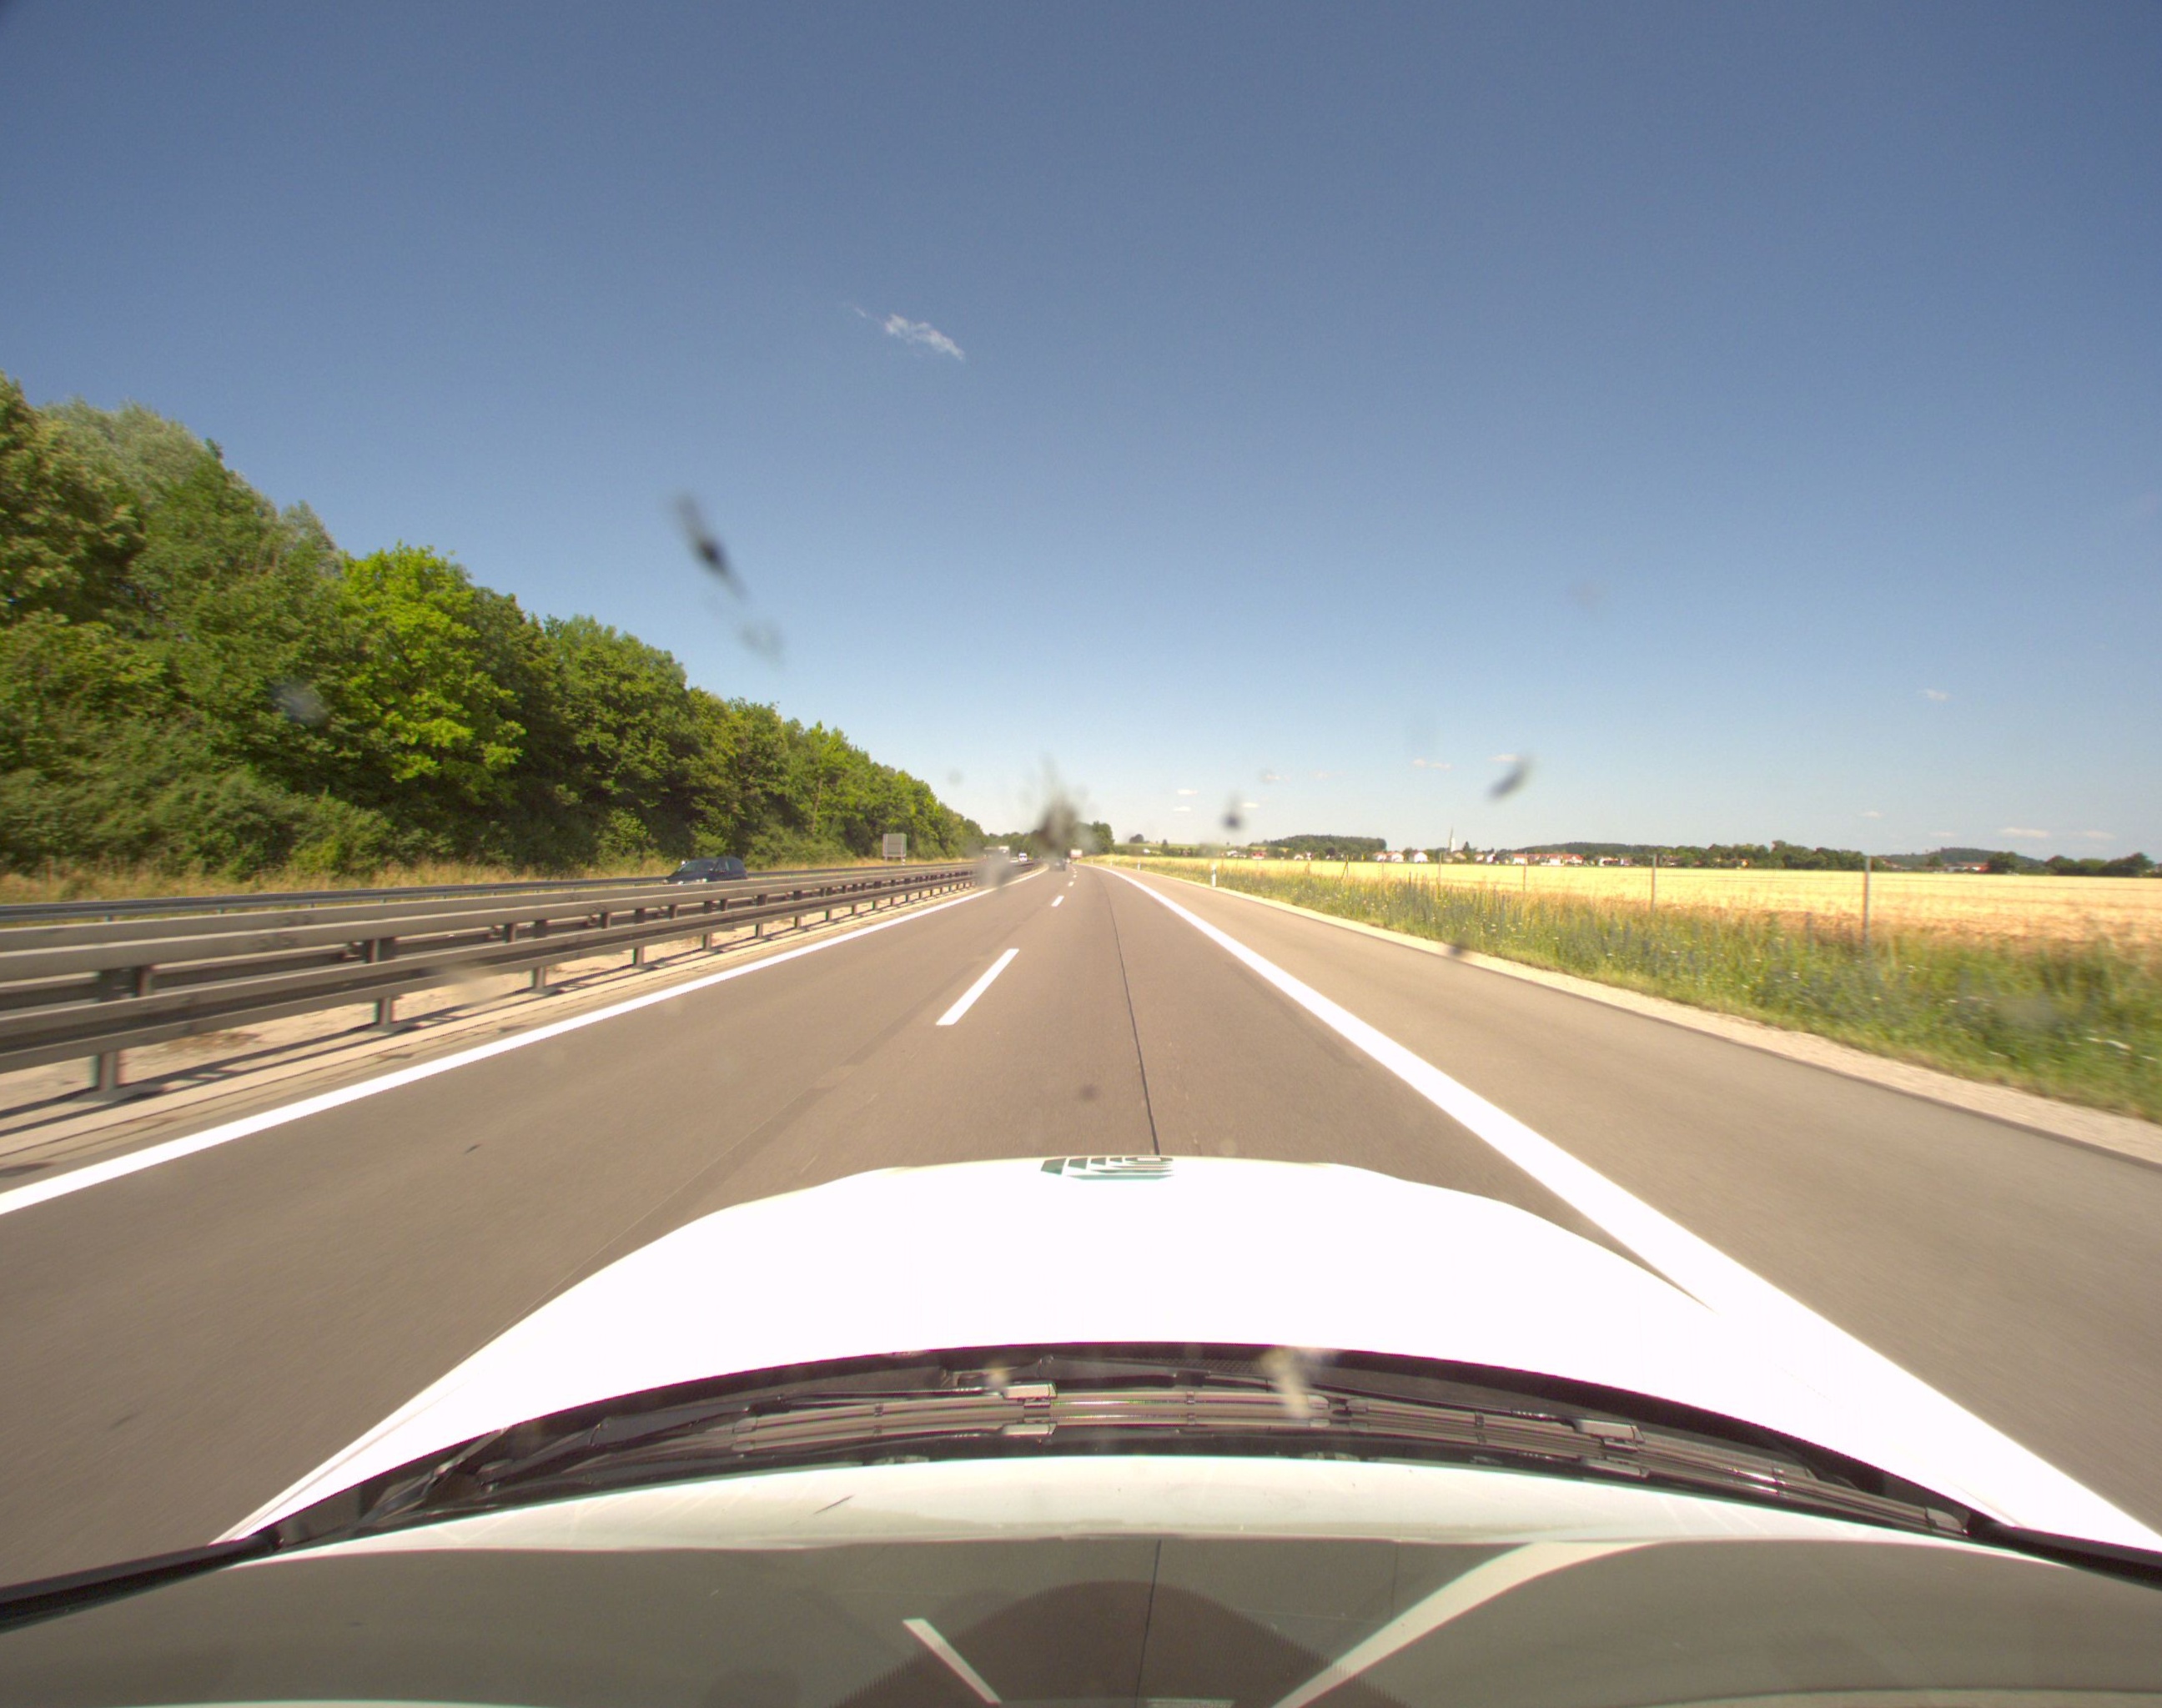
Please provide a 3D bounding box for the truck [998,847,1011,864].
[{"bbox_3d":[-17.532,0.308,186.790,2.739,3.829,5.906,0,0,-2],"label":"truck"}]

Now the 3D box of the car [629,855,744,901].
[{"bbox_3d":[-14.491,0.809,30.256,1.804,1.555,4.850,0,0,1],"label":"car"}]

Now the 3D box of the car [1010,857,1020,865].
[{"bbox_3d":[-13.576,1.423,166.784,1.680,1.483,4.975,0,0,-1],"label":"car"}]

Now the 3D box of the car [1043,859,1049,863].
[{"bbox_3d":[-10.877,2.208,253.581,1.671,1.453,3.591,0,0,-1],"label":"car"}]

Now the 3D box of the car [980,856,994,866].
[{"bbox_3d":[-14.204,1.032,123.021,1.667,1.437,4.141,0,0,0],"label":"car"}]

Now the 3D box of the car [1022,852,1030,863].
[{"bbox_3d":[-14.229,0.888,212.081,2.084,2.593,5.807,0,0,-3],"label":"car"}]

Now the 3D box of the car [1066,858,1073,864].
[{"bbox_3d":[-2.842,1.604,199.614,1.671,1.453,3.590,0,0,-1],"label":"car"}]

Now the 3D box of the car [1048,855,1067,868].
[{"bbox_3d":[-2.622,0.807,91.511,1.841,1.432,5.866,0,0,1],"label":"car"}]
